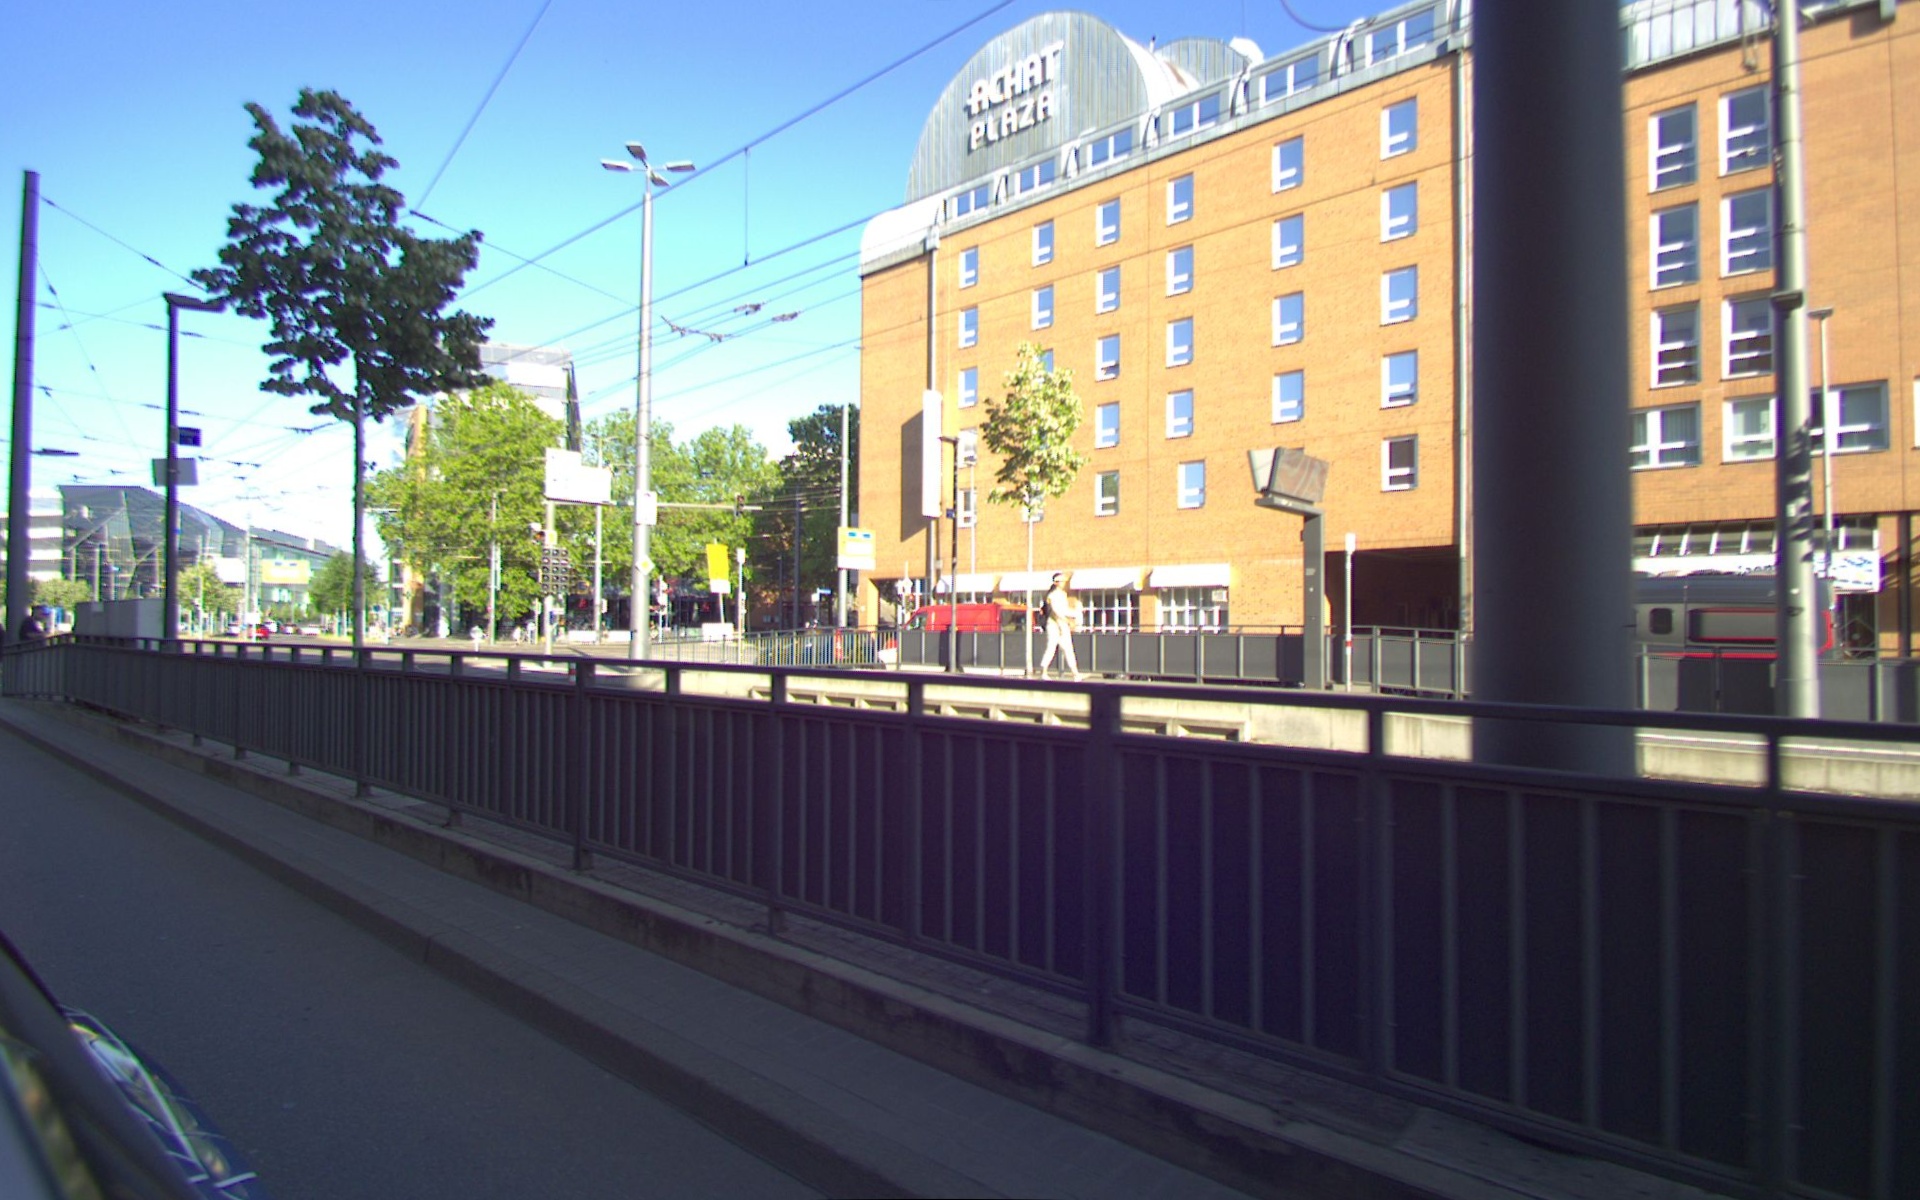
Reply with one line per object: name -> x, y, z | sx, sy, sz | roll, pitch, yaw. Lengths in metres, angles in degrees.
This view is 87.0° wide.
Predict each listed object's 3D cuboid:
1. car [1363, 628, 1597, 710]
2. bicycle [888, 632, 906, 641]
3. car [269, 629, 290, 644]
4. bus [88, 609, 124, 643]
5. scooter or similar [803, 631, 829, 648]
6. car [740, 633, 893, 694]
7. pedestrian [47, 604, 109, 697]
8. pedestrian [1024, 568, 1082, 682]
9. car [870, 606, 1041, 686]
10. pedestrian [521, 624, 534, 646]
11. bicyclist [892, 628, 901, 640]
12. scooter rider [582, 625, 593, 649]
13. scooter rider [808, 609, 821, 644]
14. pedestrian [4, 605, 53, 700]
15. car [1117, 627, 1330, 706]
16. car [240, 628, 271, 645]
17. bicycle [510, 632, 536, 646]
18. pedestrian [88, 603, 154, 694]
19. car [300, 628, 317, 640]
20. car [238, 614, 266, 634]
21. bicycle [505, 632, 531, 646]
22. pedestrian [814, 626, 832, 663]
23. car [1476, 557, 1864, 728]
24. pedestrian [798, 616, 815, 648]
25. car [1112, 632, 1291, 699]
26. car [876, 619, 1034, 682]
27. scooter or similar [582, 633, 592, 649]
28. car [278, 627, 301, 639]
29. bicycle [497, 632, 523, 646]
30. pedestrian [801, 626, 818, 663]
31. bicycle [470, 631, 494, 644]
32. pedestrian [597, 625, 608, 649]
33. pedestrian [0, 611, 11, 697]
car -> 10.757, 1.393, 21.061 | 3.997, 1.544, 1.866 | -2, -3, 41
bicycle -> -7.168, 4.171, 115.311 | 1.981, 1.075, 0.697 | 1, -2, -11
car -> -97.199, 5.171, 144.575 | 1.584, 2.029, 3.899 | 1, -2, -22
bus -> -92.779, 2.902, 109.848 | 2.684, 3.434, 9.680 | 2, -3, -41
scooter or similar -> -7.275, 1.981, 51.046 | 1.218, 0.837, 0.546 | 1, -2, -18
car -> -3.788, 1.611, 26.352 | 3.997, 1.459, 1.739 | -2, -3, 41
pedestrian -> -15.191, 0.852, 17.449 | 0.704, 1.550, 0.853 | 2, -2, -37
pedestrian -> 1.425, 0.386, 15.464 | 0.668, 1.696, 0.577 | 2, -2, -38
car -> -0.220, 1.373, 31.436 | 5.261, 2.306, 2.057 | -1, -2, 41
pedestrian -> -36.656, 2.973, 85.712 | 0.878, 1.778, 0.733 | 2, -4, -33
bicyclist -> -7.223, 3.855, 115.297 | 0.943, 1.355, 0.676 | 1, -2, -11
scooter rider -> -28.216, 2.786, 76.680 | 0.579, 1.847, 0.764 | 1, -2, -7
scooter rider -> -7.349, 1.342, 51.059 | 0.561, 1.768, 0.536 | 1, -2, -17
pedestrian -> -15.625, 0.871, 16.980 | 0.482, 1.550, 0.553 | 2, -2, -33
car -> 5.591, 1.386, 21.710 | 3.997, 1.544, 1.866 | -2, -3, 41
car -> -60.422, 3.152, 86.775 | 1.666, 1.439, 4.004 | 2, -3, -42
bicycle -> -35.715, 3.151, 82.670 | 1.815, 1.138, 0.776 | 2, -2, -43
pedestrian -> -16.255, 0.932, 19.618 | 0.772, 1.731, 0.637 | 0, -2, 18
car -> -90.360, 4.729, 140.393 | 1.834, 1.644, 4.275 | 1, -3, -32
car -> -91.267, 3.155, 130.490 | 1.965, 2.499, 5.993 | 1, -3, -25
bicycle -> -36.403, 3.181, 83.302 | 1.815, 1.138, 0.776 | 2, -2, -43
pedestrian -> -6.431, 2.090, 47.505 | 0.630, 1.731, 0.780 | 1, -2, -20
car -> 11.343, 0.656, 16.444 | 4.918, 2.376, 2.024 | -1, -3, 42
pedestrian -> -9.052, 1.887, 59.691 | 0.733, 1.909, 0.650 | 2, -2, -31
car -> 6.034, 1.612, 25.521 | 3.997, 1.544, 1.866 | -2, -3, 41
car -> -0.183, 1.341, 27.006 | 3.997, 1.544, 1.866 | -2, -3, 41
scooter or similar -> -28.235, 3.106, 76.582 | 0.448, 1.188, 1.161 | 1, -2, -6
car -> -93.978, 4.698, 141.907 | 1.833, 1.644, 4.277 | 1, -2, -22
bicycle -> -37.666, 3.249, 84.720 | 1.815, 1.138, 0.776 | 2, -2, -43
pedestrian -> -7.190, 2.103, 48.225 | 0.630, 1.731, 0.780 | 1, -2, -20
bicycle -> -39.872, 3.131, 84.410 | 1.672, 1.044, 0.550 | 2, -2, -38
pedestrian -> -27.387, 2.850, 77.610 | 0.662, 1.810, 0.570 | 1, -2, -8
pedestrian -> -19.604, 1.083, 20.229 | 0.744, 1.715, 0.620 | 0, -2, 22
